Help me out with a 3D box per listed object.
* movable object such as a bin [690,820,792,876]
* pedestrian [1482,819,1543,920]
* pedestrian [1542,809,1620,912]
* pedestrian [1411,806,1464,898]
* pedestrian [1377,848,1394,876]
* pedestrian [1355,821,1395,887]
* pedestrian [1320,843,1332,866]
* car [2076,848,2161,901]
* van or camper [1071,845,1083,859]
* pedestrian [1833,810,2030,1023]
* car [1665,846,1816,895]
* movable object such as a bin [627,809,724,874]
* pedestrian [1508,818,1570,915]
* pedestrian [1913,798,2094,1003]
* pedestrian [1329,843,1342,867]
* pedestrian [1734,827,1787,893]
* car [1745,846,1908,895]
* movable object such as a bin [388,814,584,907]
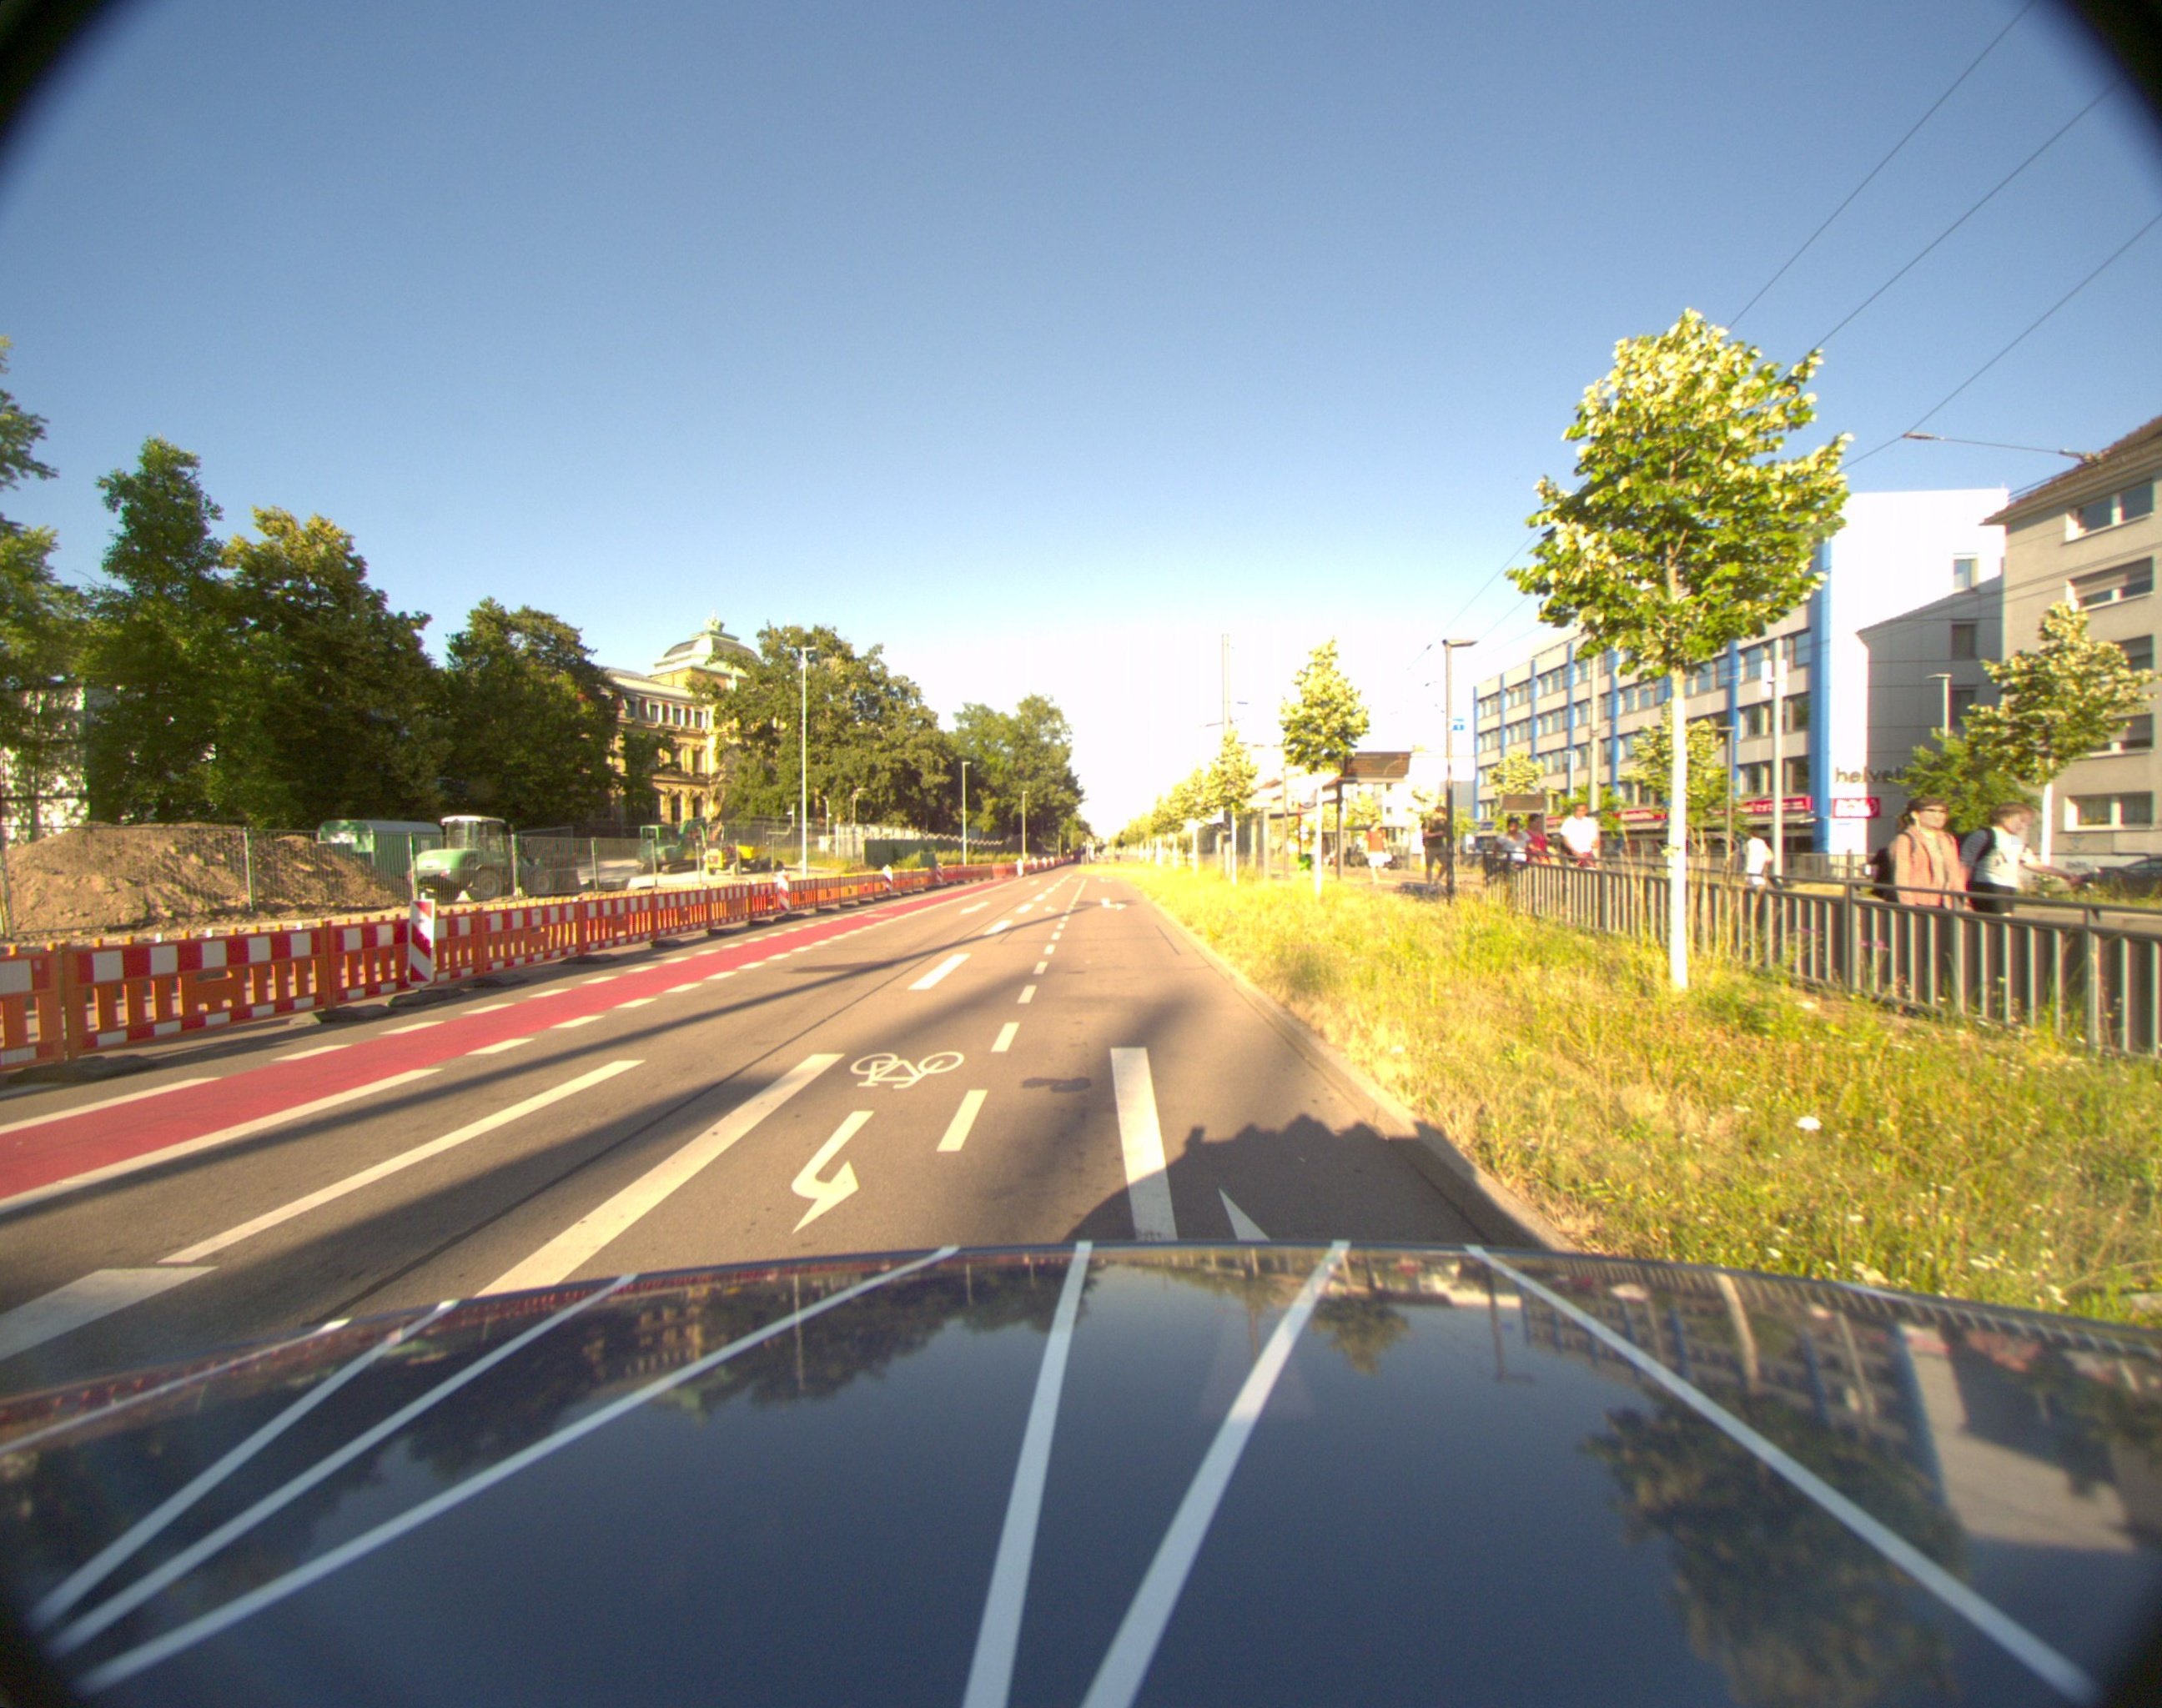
[{"bbox_3d":[-18.643,-0.354,42.075,1.997,2.800,5.871,-2,1,11],"label":"movable object such as a bin"},{"bbox_3d":[6.412,0.226,11.319,0.637,1.447,0.525,-2,1,12],"label":"pedestrian"},{"bbox_3d":[7.817,0.097,11.906,0.787,1.540,0.619,-2,1,4],"label":"pedestrian"},{"bbox_3d":[7.461,-0.039,15.920,0.787,1.853,0.619,-2,1,4],"label":"pedestrian"},{"bbox_3d":[18.267,0.468,45.606,0.660,1.682,0.772,-2,1,-1],"label":"pedestrian"},{"bbox_3d":[7.706,-0.004,19.935,0.787,1.689,0.619,-2,1,4],"label":"pedestrian"},{"bbox_3d":[18.669,0.044,57.847,0.659,1.682,0.772,-2,1,4],"label":"pedestrian"},{"bbox_3d":[33.129,0.619,22.743,1.886,1.499,3.674,-2,1,1],"label":"car"},{"bbox_3d":[-0.752,-0.356,146.712,1.998,2.514,5.913,-2,1,1],"label":"van or camper"},{"bbox_3d":[6.491,0.458,5.834,0.787,1.527,0.619,-2,1,5],"label":"pedestrian"},{"bbox_3d":[22.822,0.513,26.522,1.886,1.499,3.942,-2,1,1],"label":"car"},{"bbox_3d":[-22.423,-0.690,42.311,1.998,3.310,5.376,-2,1,5],"label":"movable object such as a bin"},{"bbox_3d":[6.985,0.189,11.603,0.637,1.423,0.525,-2,1,9],"label":"pedestrian"},{"bbox_3d":[7.831,0.375,6.477,0.787,1.631,0.619,-2,1,-1],"label":"pedestrian"},{"bbox_3d":[18.610,0.071,55.543,0.659,1.682,0.772,-2,1,7],"label":"pedestrian"},{"bbox_3d":[17.676,0.154,19.782,0.787,1.663,0.619,-2,1,4],"label":"pedestrian"},{"bbox_3d":[25.935,0.519,26.645,1.886,1.499,3.942,-2,1,1],"label":"car"},{"bbox_3d":[-19.042,0.167,24.722,1.998,2.668,5.015,-2,1,5],"label":"movable object such as a bin"}]
